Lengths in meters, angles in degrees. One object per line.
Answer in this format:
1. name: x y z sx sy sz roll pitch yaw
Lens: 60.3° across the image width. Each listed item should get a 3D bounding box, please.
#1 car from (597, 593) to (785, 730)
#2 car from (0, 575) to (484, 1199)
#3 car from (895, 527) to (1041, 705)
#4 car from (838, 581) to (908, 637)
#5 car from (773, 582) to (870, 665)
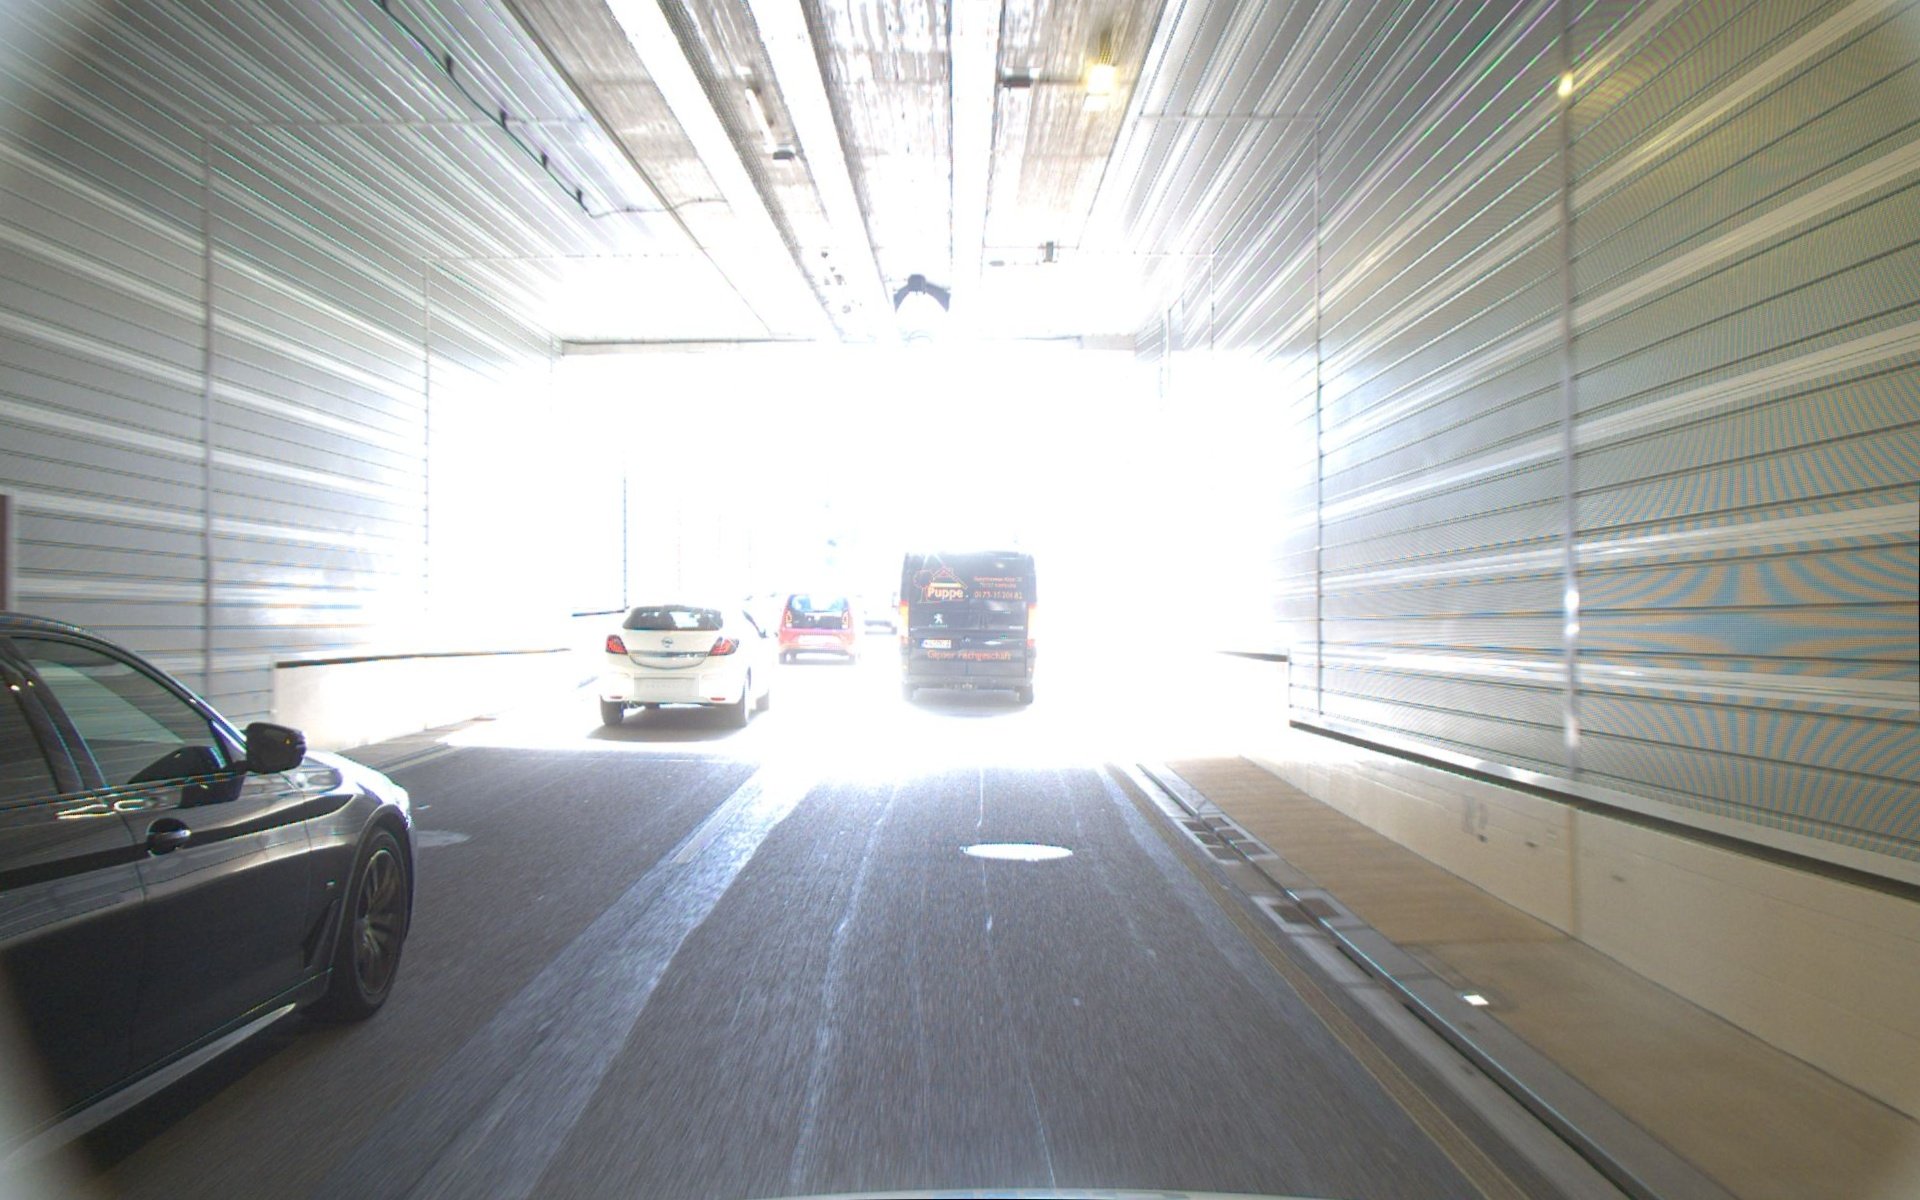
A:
1. car: -3.144 0.662 19.981 1.585 1.427 3.852 1 1 1
2. car: -2.801 0.671 4.057 1.771 1.464 5.002 1 0 0
3. car: 0.140 0.195 24.749 1.988 2.444 3.973 0 1 1
4. car: -2.522 0.225 48.925 1.853 1.500 3.991 1 1 0
5. car: -2.773 0.431 33.616 1.654 1.509 3.319 1 2 0
